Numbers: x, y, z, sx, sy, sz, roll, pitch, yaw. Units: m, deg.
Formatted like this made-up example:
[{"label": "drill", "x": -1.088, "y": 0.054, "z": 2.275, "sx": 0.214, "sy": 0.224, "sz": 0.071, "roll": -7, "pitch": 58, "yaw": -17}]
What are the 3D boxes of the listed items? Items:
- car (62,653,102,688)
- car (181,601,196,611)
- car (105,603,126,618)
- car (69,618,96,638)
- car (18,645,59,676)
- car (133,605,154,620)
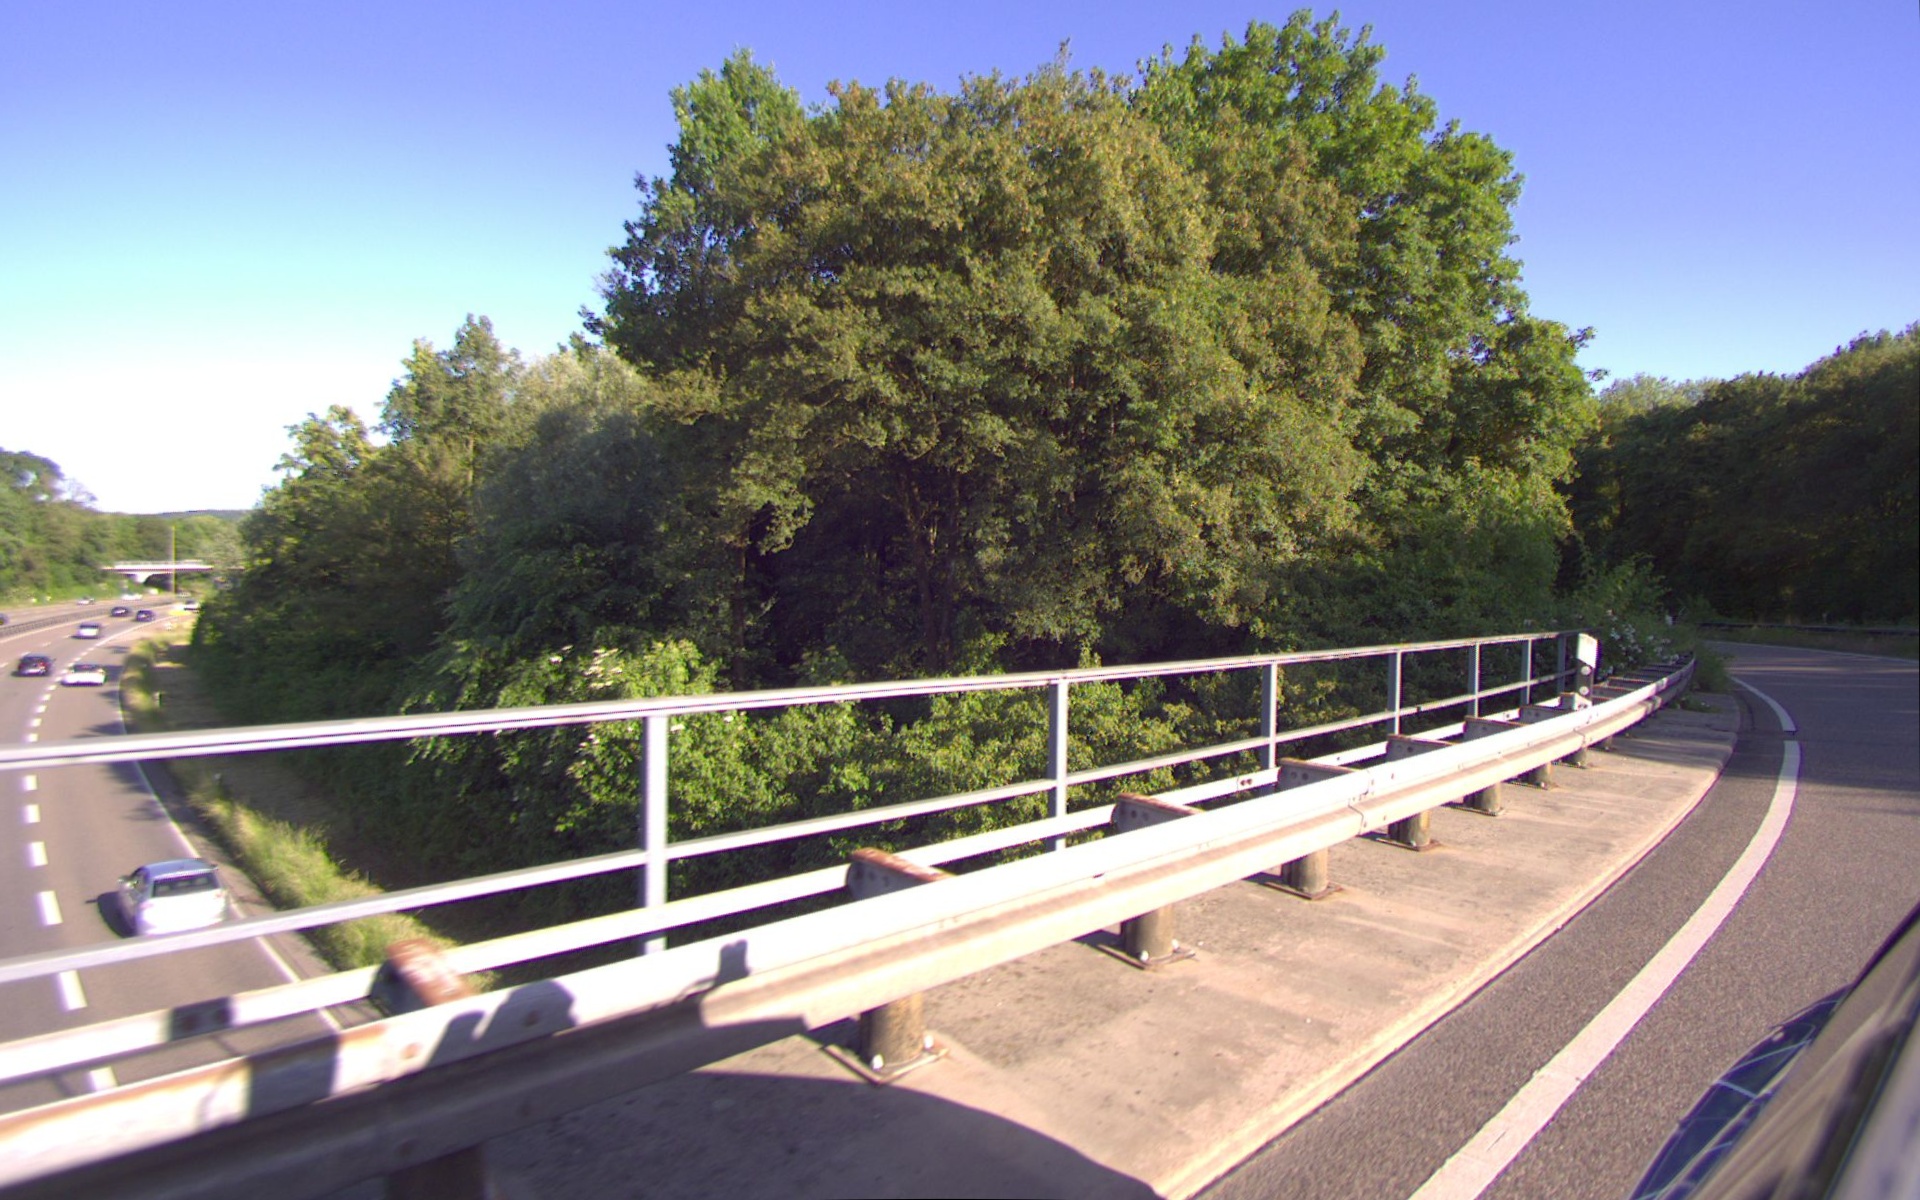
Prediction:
[{"label": "car", "x": -56.246, "y": 4.477, "z": 64.831, "sx": 1.730, "sy": 1.861, "sz": 3.867, "roll": 2, "pitch": 0, "yaw": -43}, {"label": "car", "x": -127.136, "y": 0.977, "z": 166.789, "sx": 1.725, "sy": 1.531, "sz": 3.863, "roll": 1, "pitch": 1, "yaw": -33}, {"label": "car", "x": -116.260, "y": 1.388, "z": 139.344, "sx": 1.725, "sy": 1.860, "sz": 4.003, "roll": 1, "pitch": 2, "yaw": -33}, {"label": "car", "x": -88.802, "y": 2.857, "z": 102.462, "sx": 1.727, "sy": 1.861, "sz": 3.998, "roll": 2, "pitch": 0, "yaw": -37}, {"label": "car", "x": -63.026, "y": 4.108, "z": 69.265, "sx": 1.727, "sy": 1.861, "sz": 3.998, "roll": 2, "pitch": 0, "yaw": -37}, {"label": "car", "x": -107.110, "y": 1.618, "z": 132.815, "sx": 1.725, "sy": 1.861, "sz": 4.002, "roll": 1, "pitch": 1, "yaw": -33}]
